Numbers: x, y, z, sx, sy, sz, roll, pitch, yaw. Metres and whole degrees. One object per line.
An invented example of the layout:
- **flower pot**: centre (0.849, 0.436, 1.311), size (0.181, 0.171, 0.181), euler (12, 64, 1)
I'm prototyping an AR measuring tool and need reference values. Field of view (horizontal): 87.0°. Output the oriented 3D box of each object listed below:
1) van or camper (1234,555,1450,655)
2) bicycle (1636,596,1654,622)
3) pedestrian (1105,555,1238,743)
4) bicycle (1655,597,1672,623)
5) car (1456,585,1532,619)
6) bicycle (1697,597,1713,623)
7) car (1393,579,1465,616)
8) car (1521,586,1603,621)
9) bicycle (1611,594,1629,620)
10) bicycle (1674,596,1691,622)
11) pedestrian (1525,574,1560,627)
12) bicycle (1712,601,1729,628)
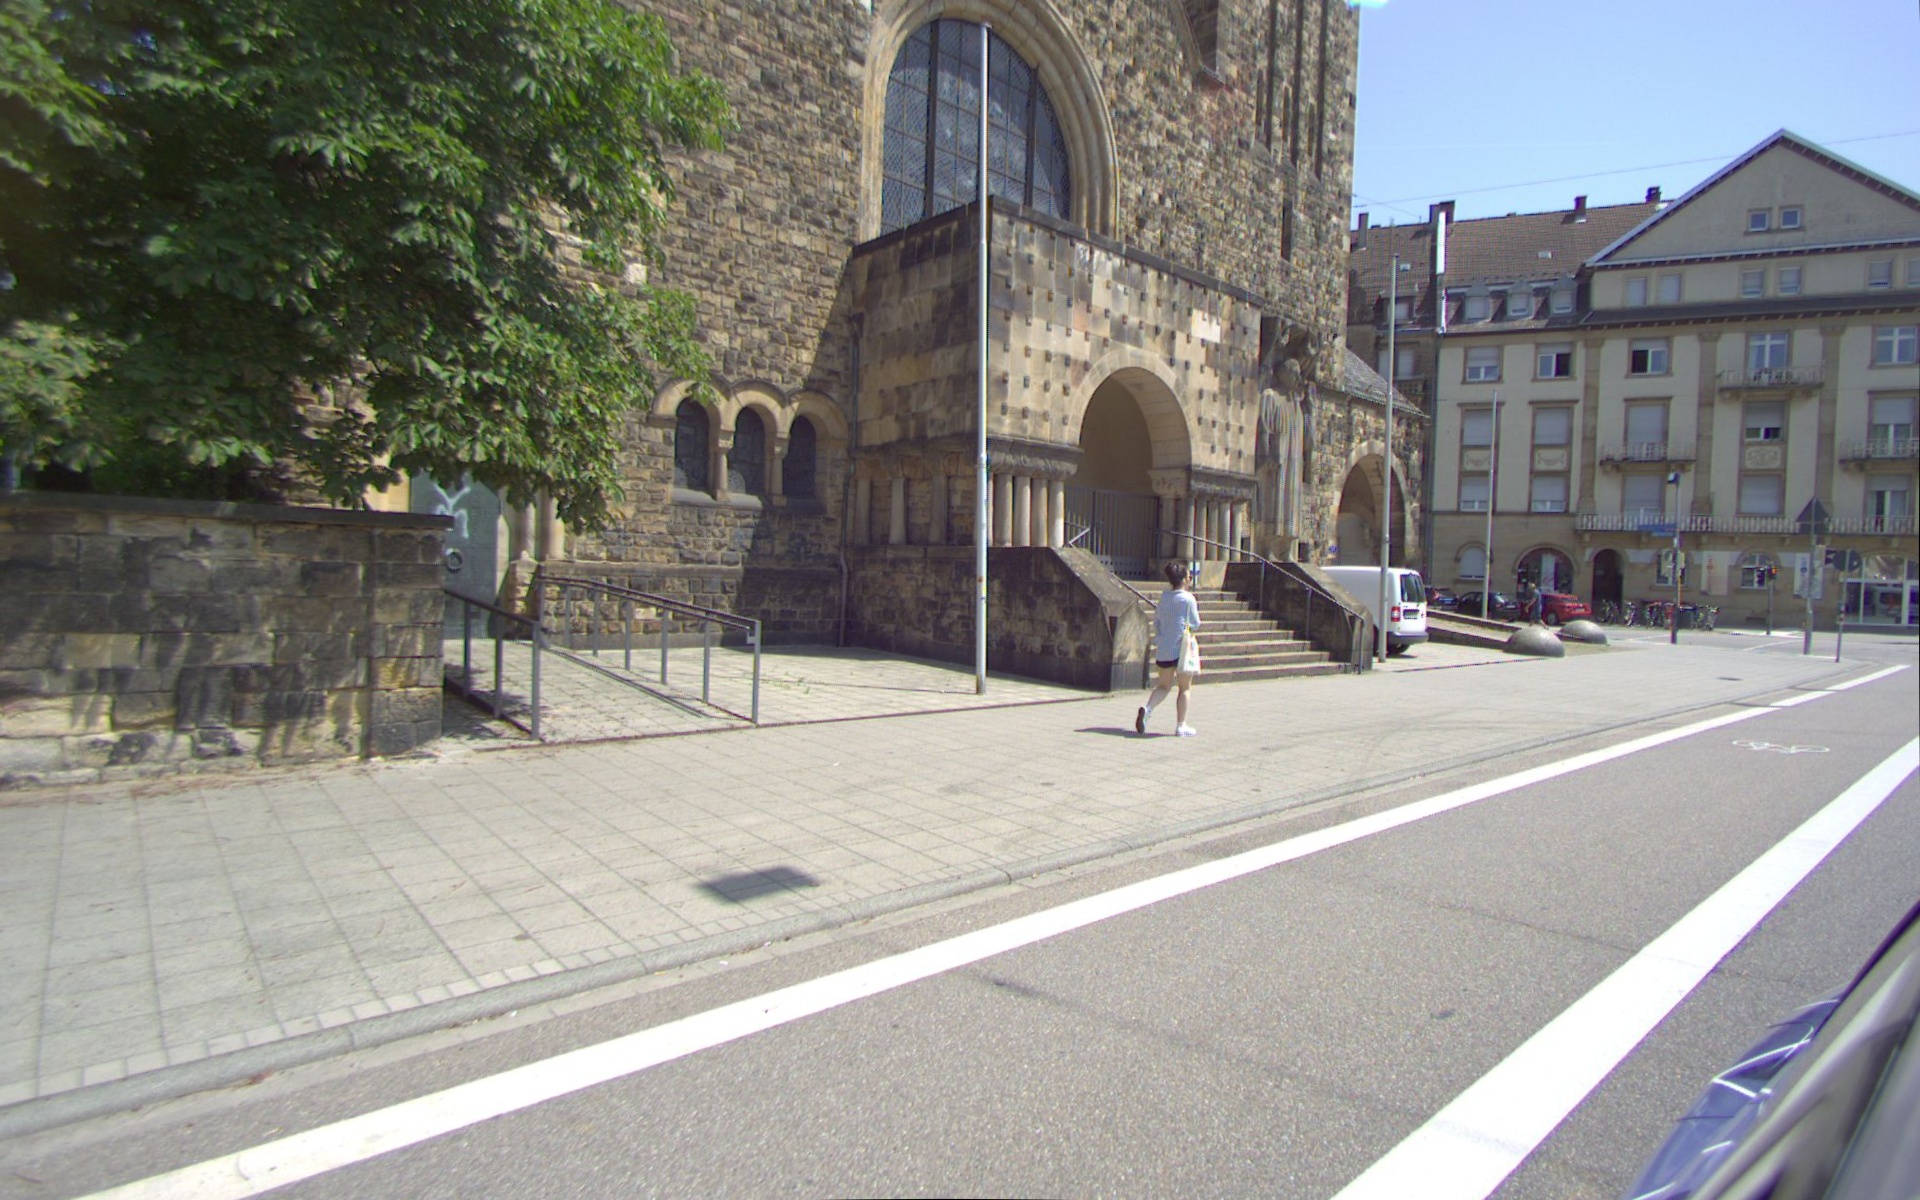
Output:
- **van or camper**: centre (8.275, 0.035, 22.177), size (1.772, 1.847, 3.995), euler (0, 4, -42)
- **bicycle**: centre (33.085, 0.416, 48.885), size (0.562, 1.165, 1.781), euler (2, 2, 38)
- **pedestrian**: centre (2.006, 0.428, 9.609), size (0.949, 1.671, 0.795), euler (1, 1, -40)
- **bicycle**: centre (34.078, 0.477, 49.026), size (0.562, 1.165, 1.781), euler (2, 2, 38)
- **car**: centre (26.718, 0.054, 50.760), size (1.583, 1.496, 3.235), euler (-1, 3, -15)
- **bicycle**: centre (35.711, 0.452, 48.481), size (0.562, 1.165, 1.781), euler (2, 2, 38)
- **car**: centre (23.996, -0.166, 51.870), size (1.583, 1.685, 3.235), euler (-1, 3, -15)
- **car**: centre (29.316, 0.152, 49.398), size (1.583, 1.496, 3.235), euler (-1, 3, -15)
- **bicycle**: centre (31.761, 0.344, 48.685), size (0.560, 1.165, 1.787), euler (1, 2, 29)
- **bicycle**: centre (34.939, 0.427, 48.943), size (0.562, 1.165, 1.781), euler (2, 2, 38)
- **pedestrian**: centre (20.647, 0.008, 35.856), size (0.817, 1.845, 0.745), euler (1, 1, -34)
- **bicycle**: centre (35.256, 0.654, 46.917), size (0.562, 1.165, 2.032), euler (2, 3, 38)
